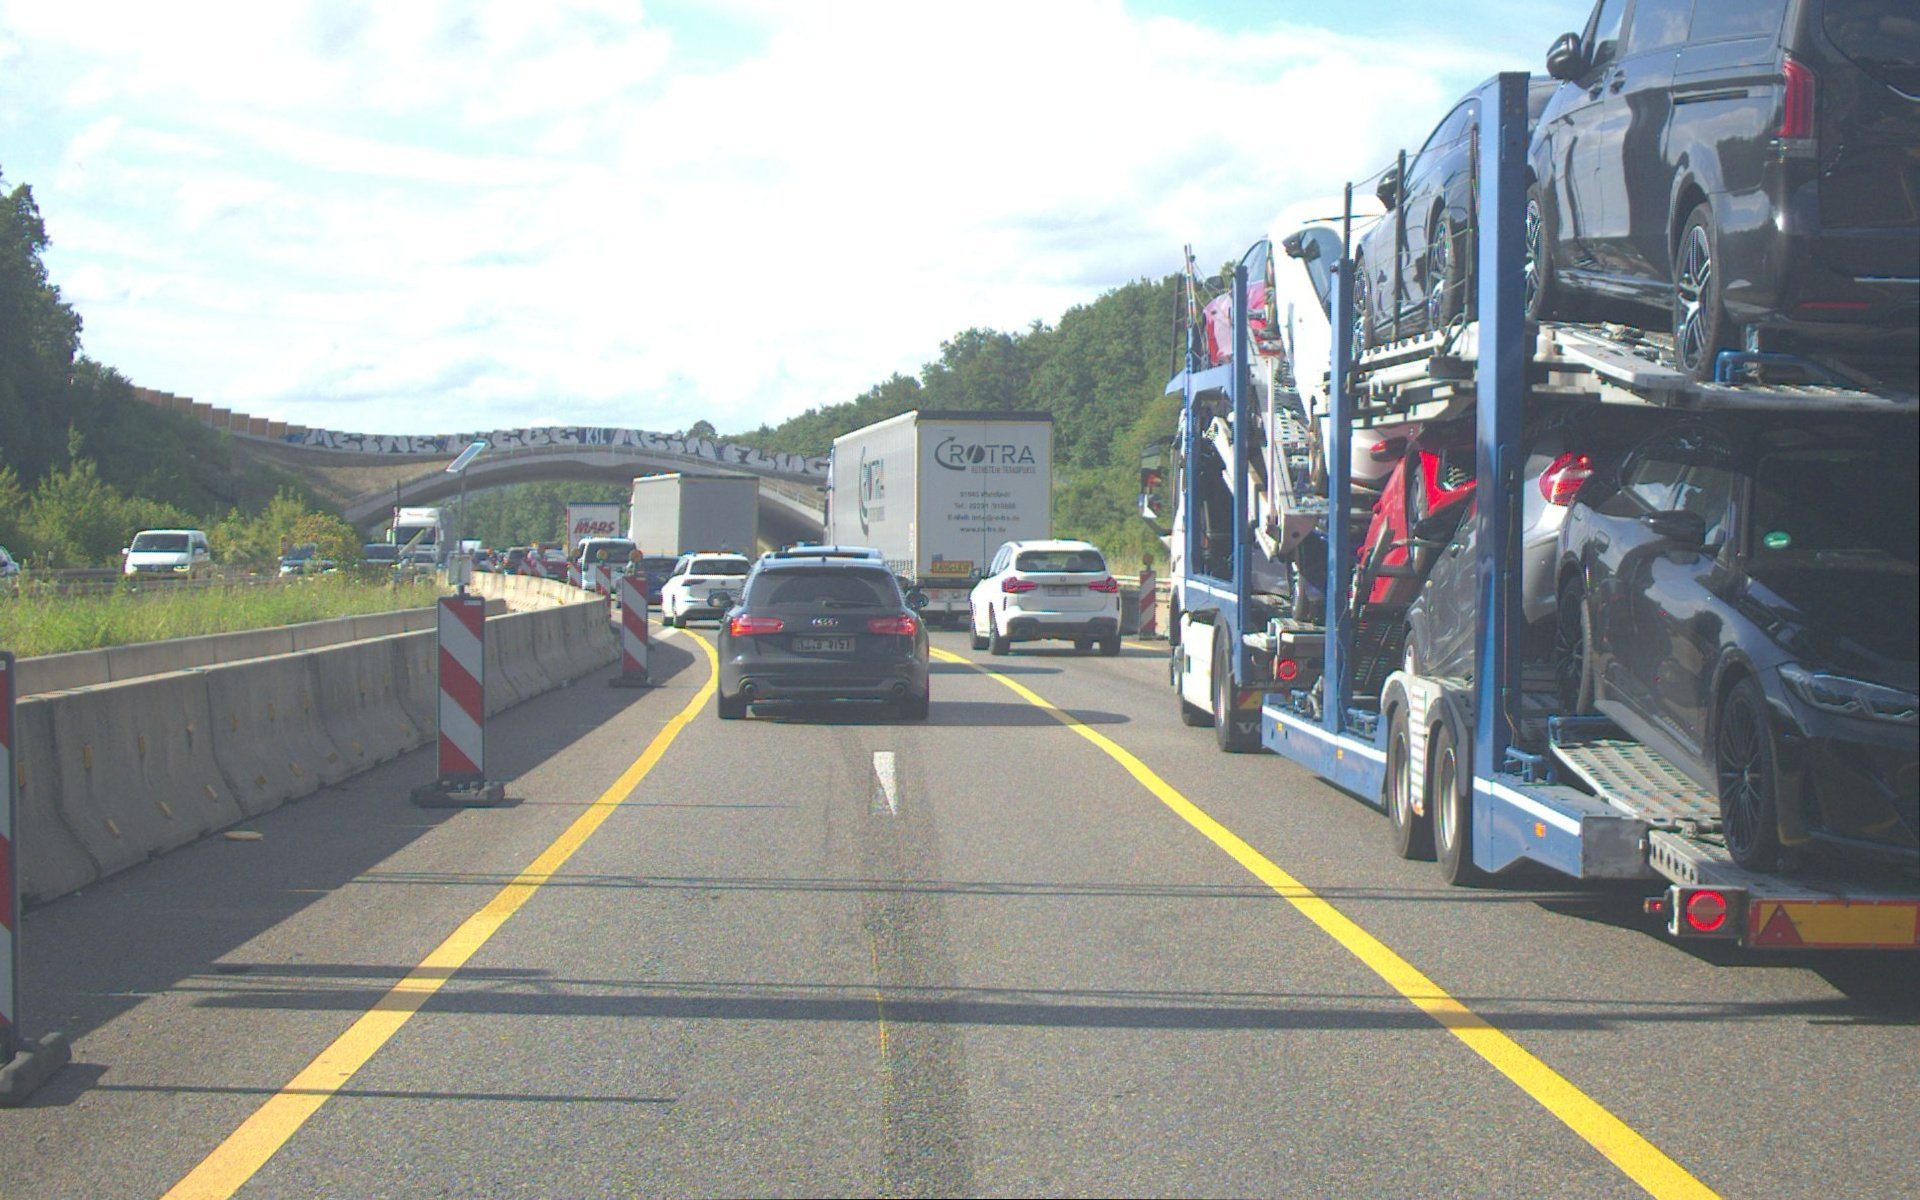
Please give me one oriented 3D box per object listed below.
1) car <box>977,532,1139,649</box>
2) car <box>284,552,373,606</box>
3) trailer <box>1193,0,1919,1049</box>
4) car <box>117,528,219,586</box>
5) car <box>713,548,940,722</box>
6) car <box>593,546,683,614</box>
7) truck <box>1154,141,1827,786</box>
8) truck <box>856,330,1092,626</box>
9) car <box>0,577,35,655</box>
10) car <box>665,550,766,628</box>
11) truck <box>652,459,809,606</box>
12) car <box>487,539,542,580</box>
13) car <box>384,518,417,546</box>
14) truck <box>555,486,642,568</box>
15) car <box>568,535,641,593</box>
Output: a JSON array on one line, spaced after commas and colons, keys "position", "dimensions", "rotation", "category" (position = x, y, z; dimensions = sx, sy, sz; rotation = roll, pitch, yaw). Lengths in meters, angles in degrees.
[{"position": [1.398, -0.159, 50.762], "dimensions": [1.890, 1.637, 4.018], "rotation": [1, 1, -5], "category": "car"}, {"position": [-19.358, -0.672, 105.530], "dimensions": [1.968, 1.597, 4.948], "rotation": [1, 1, -2], "category": "car"}, {"position": [3.858, -0.835, 18.474], "dimensions": [3.726, 4.182, 16.229], "rotation": [1, 1, -1], "category": "trailer"}, {"position": [-22.688, -1.234, 98.628], "dimensions": [1.968, 1.597, 4.948], "rotation": [1, 1, -2], "category": "car"}, {"position": [-1.219, 0.271, 30.989], "dimensions": [1.890, 1.441, 4.001], "rotation": [1, 1, -3], "category": "car"}, {"position": [-8.113, -0.515, 86.363], "dimensions": [1.890, 1.637, 4.019], "rotation": [1, 1, -10], "category": "car"}, {"position": [3.713, -0.949, 26.586], "dimensions": [3.761, 4.182, 7.951], "rotation": [1, 1, -1], "category": "truck"}, {"position": [0.012, -2.336, 70.813], "dimensions": [3.677, 5.335, 16.204], "rotation": [1, 1, -4], "category": "truck"}, {"position": [-21.094, 0.325, 73.063], "dimensions": [1.778, 1.597, 4.677], "rotation": [1, 1, -2], "category": "car"}, {"position": [-4.789, -0.232, 67.157], "dimensions": [1.890, 1.441, 4.001], "rotation": [1, 1, -5], "category": "car"}, {"position": [-7.761, -2.212, 114.490], "dimensions": [4.318, 4.584, 11.128], "rotation": [1, 1, -8], "category": "truck"}, {"position": [-18.023, -1.649, 138.915], "dimensions": [1.777, 1.597, 4.019], "rotation": [1, 1, -13], "category": "car"}, {"position": [-38.008, -4.601, 233.553], "dimensions": [1.780, 1.860, 4.001], "rotation": [1, 1, -4], "category": "car"}, {"position": [-18.233, -3.626, 172.638], "dimensions": [3.653, 3.915, 11.070], "rotation": [1, 1, -9], "category": "truck"}, {"position": [-10.455, -1.058, 100.869], "dimensions": [1.890, 1.637, 4.019], "rotation": [1, 1, -9], "category": "car"}]
